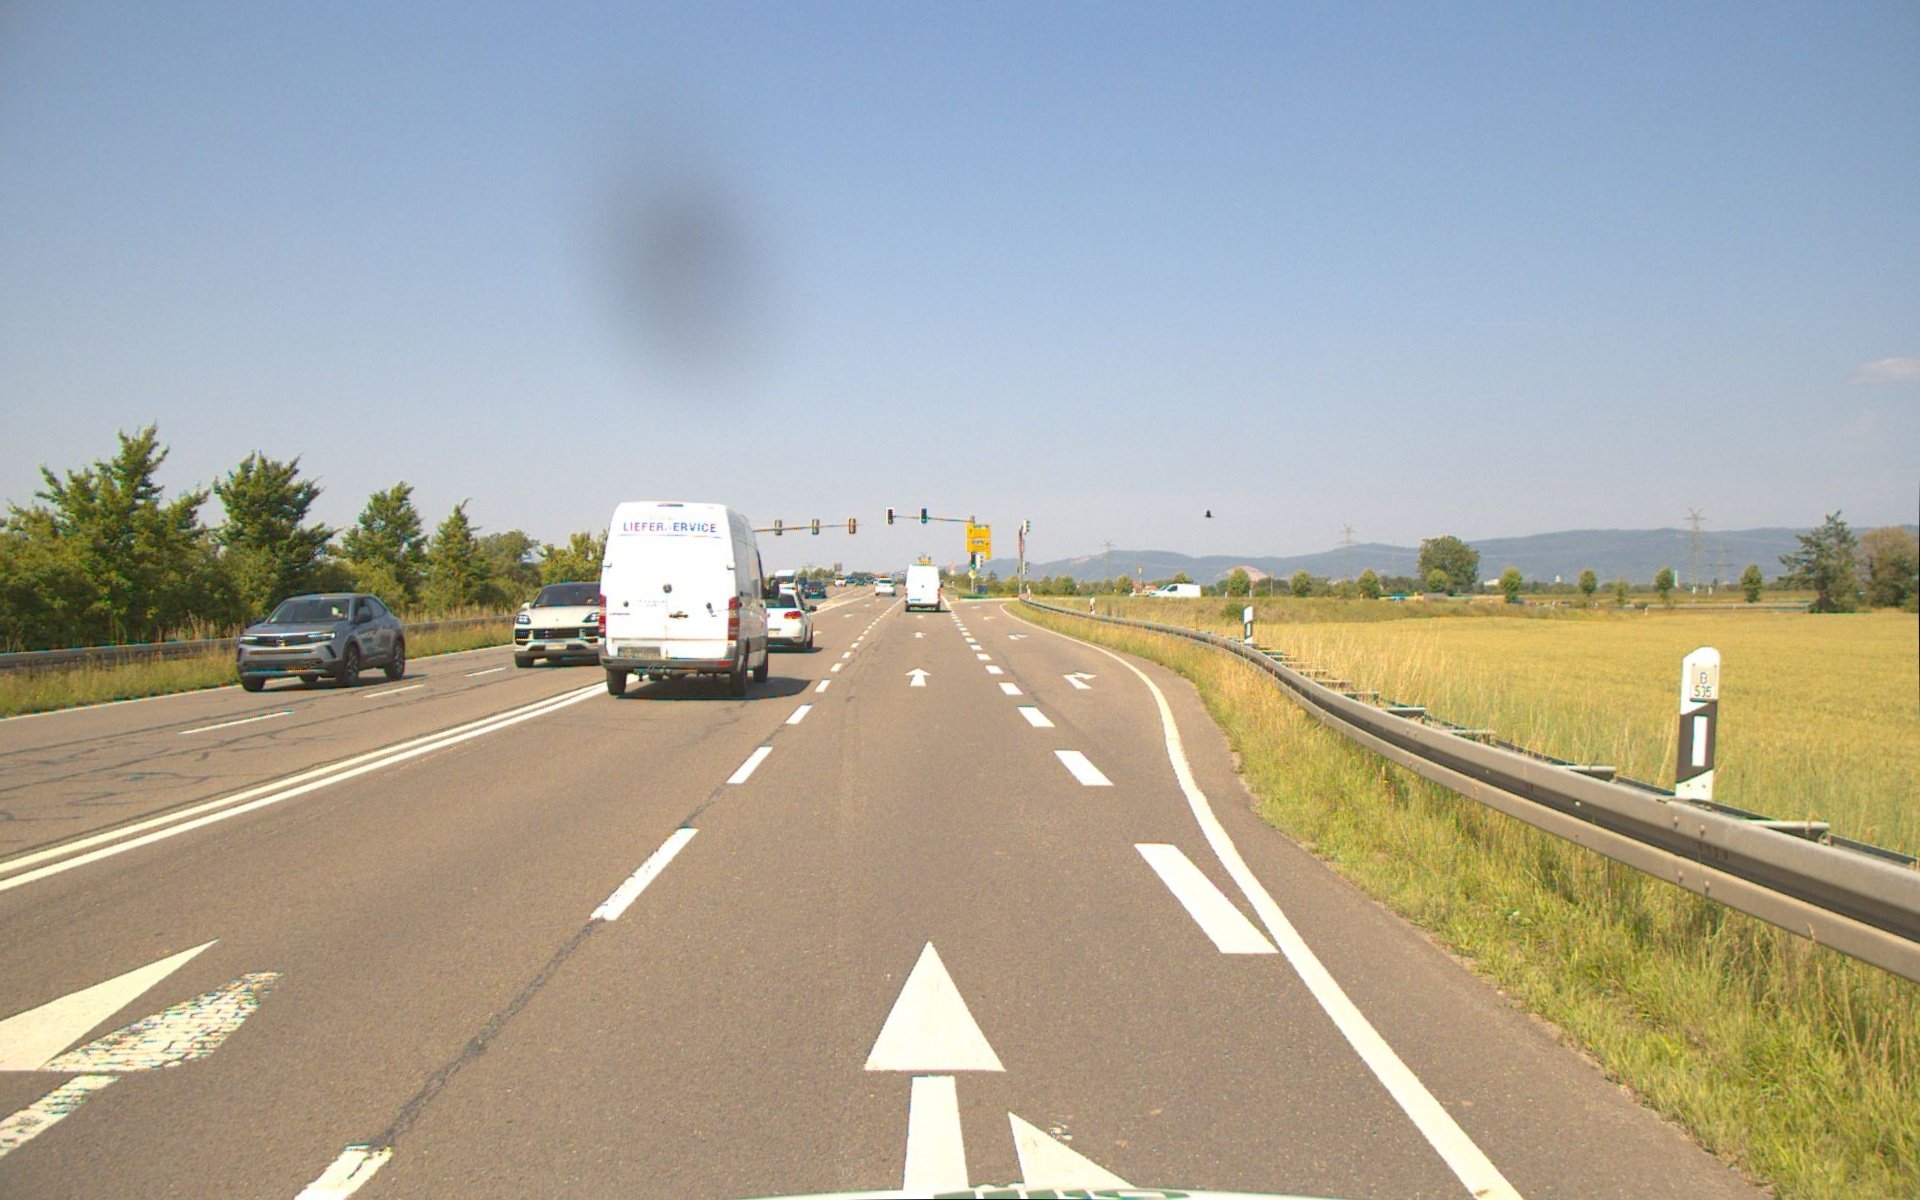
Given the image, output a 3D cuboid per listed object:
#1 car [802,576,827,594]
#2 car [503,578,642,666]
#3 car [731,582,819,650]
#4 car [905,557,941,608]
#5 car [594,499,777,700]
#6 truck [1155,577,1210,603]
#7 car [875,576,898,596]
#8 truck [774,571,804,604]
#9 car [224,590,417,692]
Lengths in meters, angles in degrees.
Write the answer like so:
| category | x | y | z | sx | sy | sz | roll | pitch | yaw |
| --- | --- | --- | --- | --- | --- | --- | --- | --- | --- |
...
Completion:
| category | x | y | z | sx | sy | sz | roll | pitch | yaw |
| --- | --- | --- | --- | --- | --- | --- | --- | --- | --- |
| car | -12.699 | -1.313 | 144.083 | 1.819 | 1.448 | 3.999 | 1 | 0 | 0 |
| car | -7.997 | 0.412 | 34.561 | 1.803 | 1.614 | 4.874 | -3 | 0 | -2 |
| car | -4.427 | 0.338 | 40.044 | 1.763 | 1.534 | 4.195 | 0 | 1 | -2 |
| car | -2.066 | -0.961 | 92.481 | 1.953 | 2.742 | 4.968 | 0 | 0 | -2 |
| car | -3.957 | -0.036 | 24.824 | 1.998 | 2.665 | 5.739 | 0 | 1 | -2 |
| truck | 20.895 | -0.921 | 155.341 | 4.765 | 2.361 | 1.991 | 1 | -1 | -16 |
| car | -6.705 | -1.259 | 150.918 | 1.953 | 1.733 | 4.274 | 1 | 0 | -1 |
| truck | -16.229 | -1.135 | 157.026 | 2.250 | 3.009 | 5.282 | 1 | -1 | 0 |
| car | -10.821 | 0.644 | 28.295 | 1.783 | 1.534 | 4.125 | -2 | 1 | -2 |
